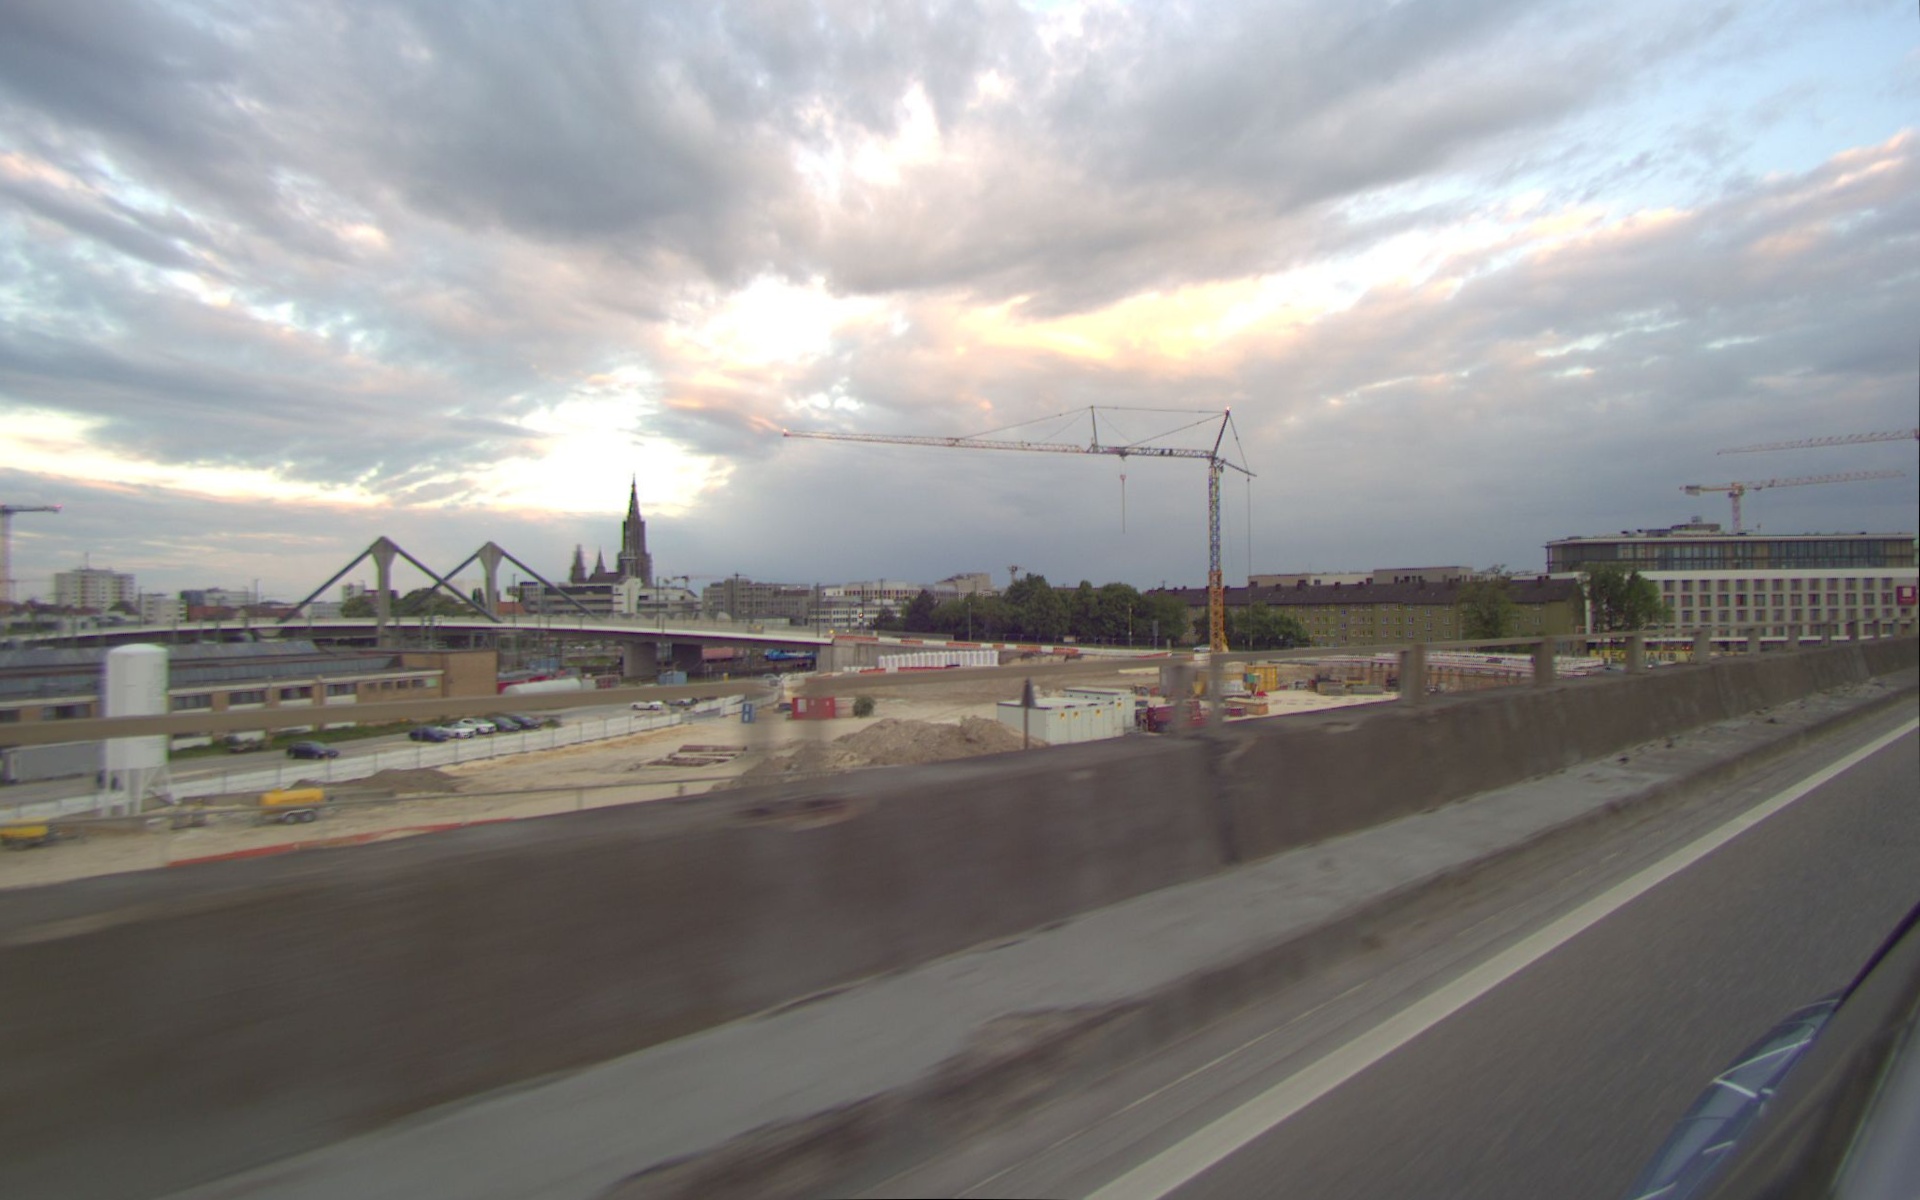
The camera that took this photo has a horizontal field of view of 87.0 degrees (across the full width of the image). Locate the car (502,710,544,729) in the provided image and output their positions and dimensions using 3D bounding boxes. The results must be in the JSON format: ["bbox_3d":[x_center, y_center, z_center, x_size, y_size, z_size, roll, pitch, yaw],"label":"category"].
[{"bbox_3d":[-47.327,12.934,109.614,3.948,1.674,1.858,-6,-6,19],"label":"car"}]

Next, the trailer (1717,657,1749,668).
[{"bbox_3d":[108.635,8.808,142.166,5.763,1.366,1.998,1,-7,-37],"label":"trailer"}]

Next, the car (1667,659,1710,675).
[{"bbox_3d":[88.043,8.078,122.356,1.611,1.761,3.800,-1,-2,-23],"label":"car"}]

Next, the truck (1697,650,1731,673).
[{"bbox_3d":[102.625,8.358,137.716,7.209,2.987,2.159,2,-4,-42],"label":"truck"}]

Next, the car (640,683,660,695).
[{"bbox_3d":[-46.926,13.495,153.353,1.415,1.597,3.672,-5,-6,9],"label":"car"}]

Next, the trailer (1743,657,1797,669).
[{"bbox_3d":[114.460,8.850,143.106,5.835,1.365,2.001,0,0,35],"label":"trailer"}]

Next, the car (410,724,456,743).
[{"bbox_3d":[-51.689,13.095,99.281,3.948,1.439,1.858,-6,-6,19],"label":"car"}]

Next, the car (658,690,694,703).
[{"bbox_3d":[-38.010,12.915,135.509,4.281,1.540,1.862,-2,-1,15],"label":"car"}]

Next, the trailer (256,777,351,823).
[{"bbox_3d":[-34.022,10.343,52.498,1.992,1.828,3.783,-9,-7,43],"label":"trailer"}]

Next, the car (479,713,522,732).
[{"bbox_3d":[-48.612,12.946,107.145,3.948,1.674,1.858,-6,-6,19],"label":"car"}]

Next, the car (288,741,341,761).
[{"bbox_3d":[-55.875,13.051,87.548,3.948,1.439,1.858,-6,-6,19],"label":"car"}]

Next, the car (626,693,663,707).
[{"bbox_3d":[-40.725,12.940,130.665,4.281,1.540,1.862,-2,-1,15],"label":"car"}]

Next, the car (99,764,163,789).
[{"bbox_3d":[-61.036,12.985,74.502,3.948,1.439,1.858,-6,-6,19],"label":"car"}]

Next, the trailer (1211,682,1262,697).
[{"bbox_3d":[25.789,8.364,94.524,4.164,1.257,1.787,0,-2,-11],"label":"trailer"}]

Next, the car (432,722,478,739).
[{"bbox_3d":[-50.923,13.162,102.049,3.948,1.439,1.858,-6,-6,19],"label":"car"}]

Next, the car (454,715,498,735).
[{"bbox_3d":[-50.116,12.917,104.783,3.948,1.738,1.858,-6,-6,19],"label":"car"}]
